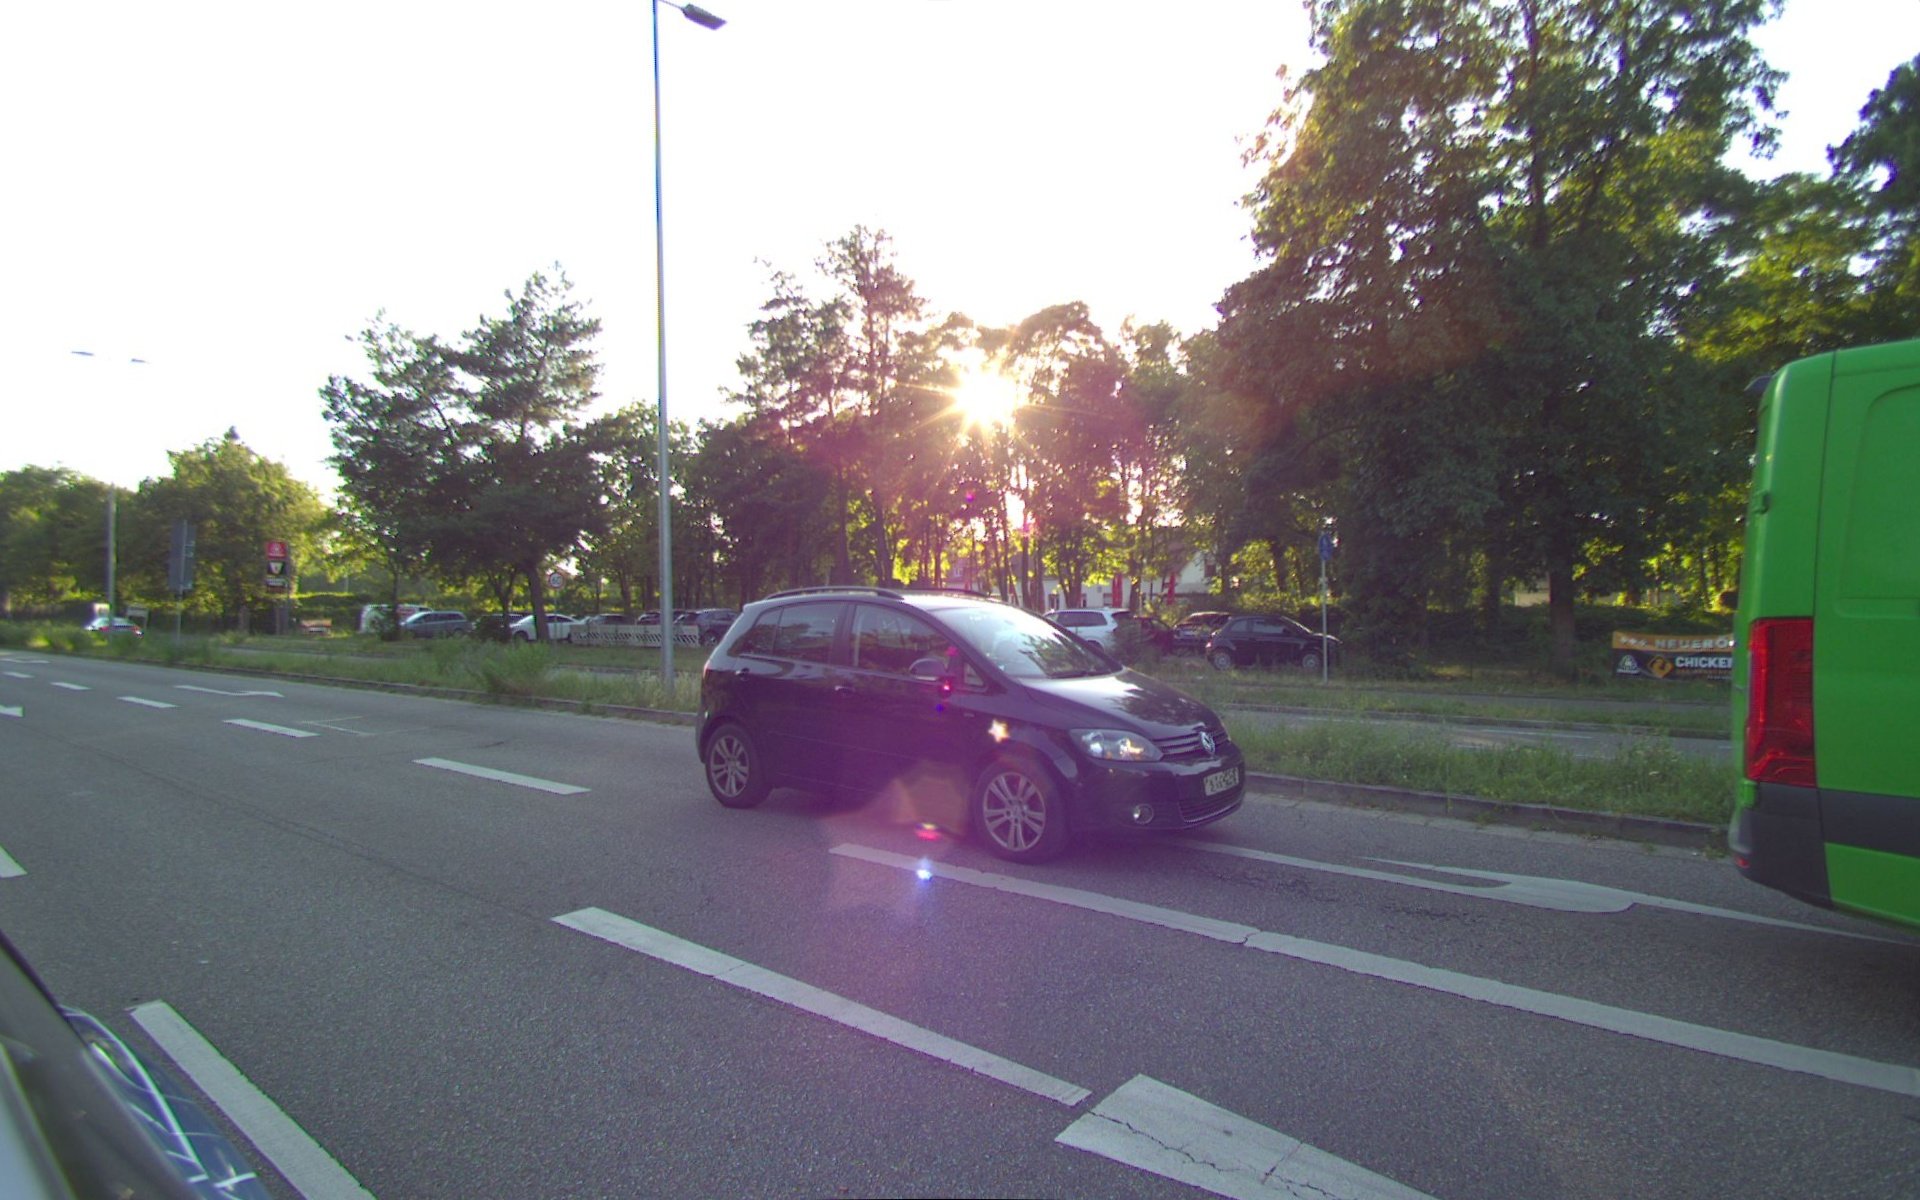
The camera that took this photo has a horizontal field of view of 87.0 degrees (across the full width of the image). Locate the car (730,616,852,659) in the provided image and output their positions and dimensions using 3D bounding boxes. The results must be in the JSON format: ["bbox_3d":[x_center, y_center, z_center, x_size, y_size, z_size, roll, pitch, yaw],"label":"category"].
[{"bbox_3d":[-6.598,1.415,39.299,4.701,1.560,1.975,-1,-2,37],"label":"car"}]

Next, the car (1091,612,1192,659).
[{"bbox_3d":[6.829,1.312,37.850,1.918,1.663,3.944,-1,-2,42],"label":"car"}]

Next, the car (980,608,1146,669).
[{"bbox_3d":[3.180,1.177,31.809,4.913,1.800,1.975,-1,-2,37],"label":"car"}]

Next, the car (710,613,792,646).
[{"bbox_3d":[-10.894,1.520,52.954,1.765,1.663,3.947,-1,-2,40],"label":"car"}]

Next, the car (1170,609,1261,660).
[{"bbox_3d":[9.007,1.174,35.447,1.914,1.663,3.954,-1,-1,34],"label":"car"}]

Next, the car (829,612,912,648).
[{"bbox_3d":[-4.313,1.450,49.052,1.765,1.663,3.947,-1,-2,39],"label":"car"}]

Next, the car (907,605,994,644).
[{"bbox_3d":[-0.378,1.103,45.116,1.765,1.663,3.947,-1,-2,39],"label":"car"}]

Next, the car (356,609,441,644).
[{"bbox_3d":[-32.518,1.514,58.692,1.764,1.959,3.949,-1,-2,38],"label":"car"}]

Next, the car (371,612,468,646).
[{"bbox_3d":[-30.224,1.604,56.696,1.907,1.811,4.443,-1,-2,38],"label":"car"}]

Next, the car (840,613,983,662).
[{"bbox_3d":[-1.739,1.286,35.596,4.913,1.619,1.975,-1,-2,37],"label":"car"}]

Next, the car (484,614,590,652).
[{"bbox_3d":[-20.796,1.620,49.850,1.908,1.767,4.441,-1,-2,39],"label":"car"}]

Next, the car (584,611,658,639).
[{"bbox_3d":[-20.489,1.504,61.244,1.765,1.663,3.947,-1,-2,40],"label":"car"}]

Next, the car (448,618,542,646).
[{"bbox_3d":[-23.161,1.577,50.517,1.731,1.322,3.947,-1,-2,39],"label":"car"}]

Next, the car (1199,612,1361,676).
[{"bbox_3d":[8.579,1.148,27.253,3.807,1.609,1.838,-1,-2,36],"label":"car"}]

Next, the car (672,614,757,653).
[{"bbox_3d":[-10.043,1.354,41.516,1.657,1.538,3.060,-1,-2,38],"label":"car"}]

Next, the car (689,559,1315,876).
[{"bbox_3d":[0.141,0.624,7.057,3.996,1.564,1.974,-1,-2,39],"label":"car"}]

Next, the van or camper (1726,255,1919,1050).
[{"bbox_3d":[5.475,0.137,2.268,5.891,2.439,1.973,-1,-2,40],"label":"van or camper"}]

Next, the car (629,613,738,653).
[{"bbox_3d":[-11.960,1.417,44.005,1.769,1.629,4.470,-1,-2,37],"label":"car"}]

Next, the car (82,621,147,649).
[{"bbox_3d":[-46.120,1.862,55.196,4.495,1.452,1.873,-1,-2,39],"label":"car"}]
